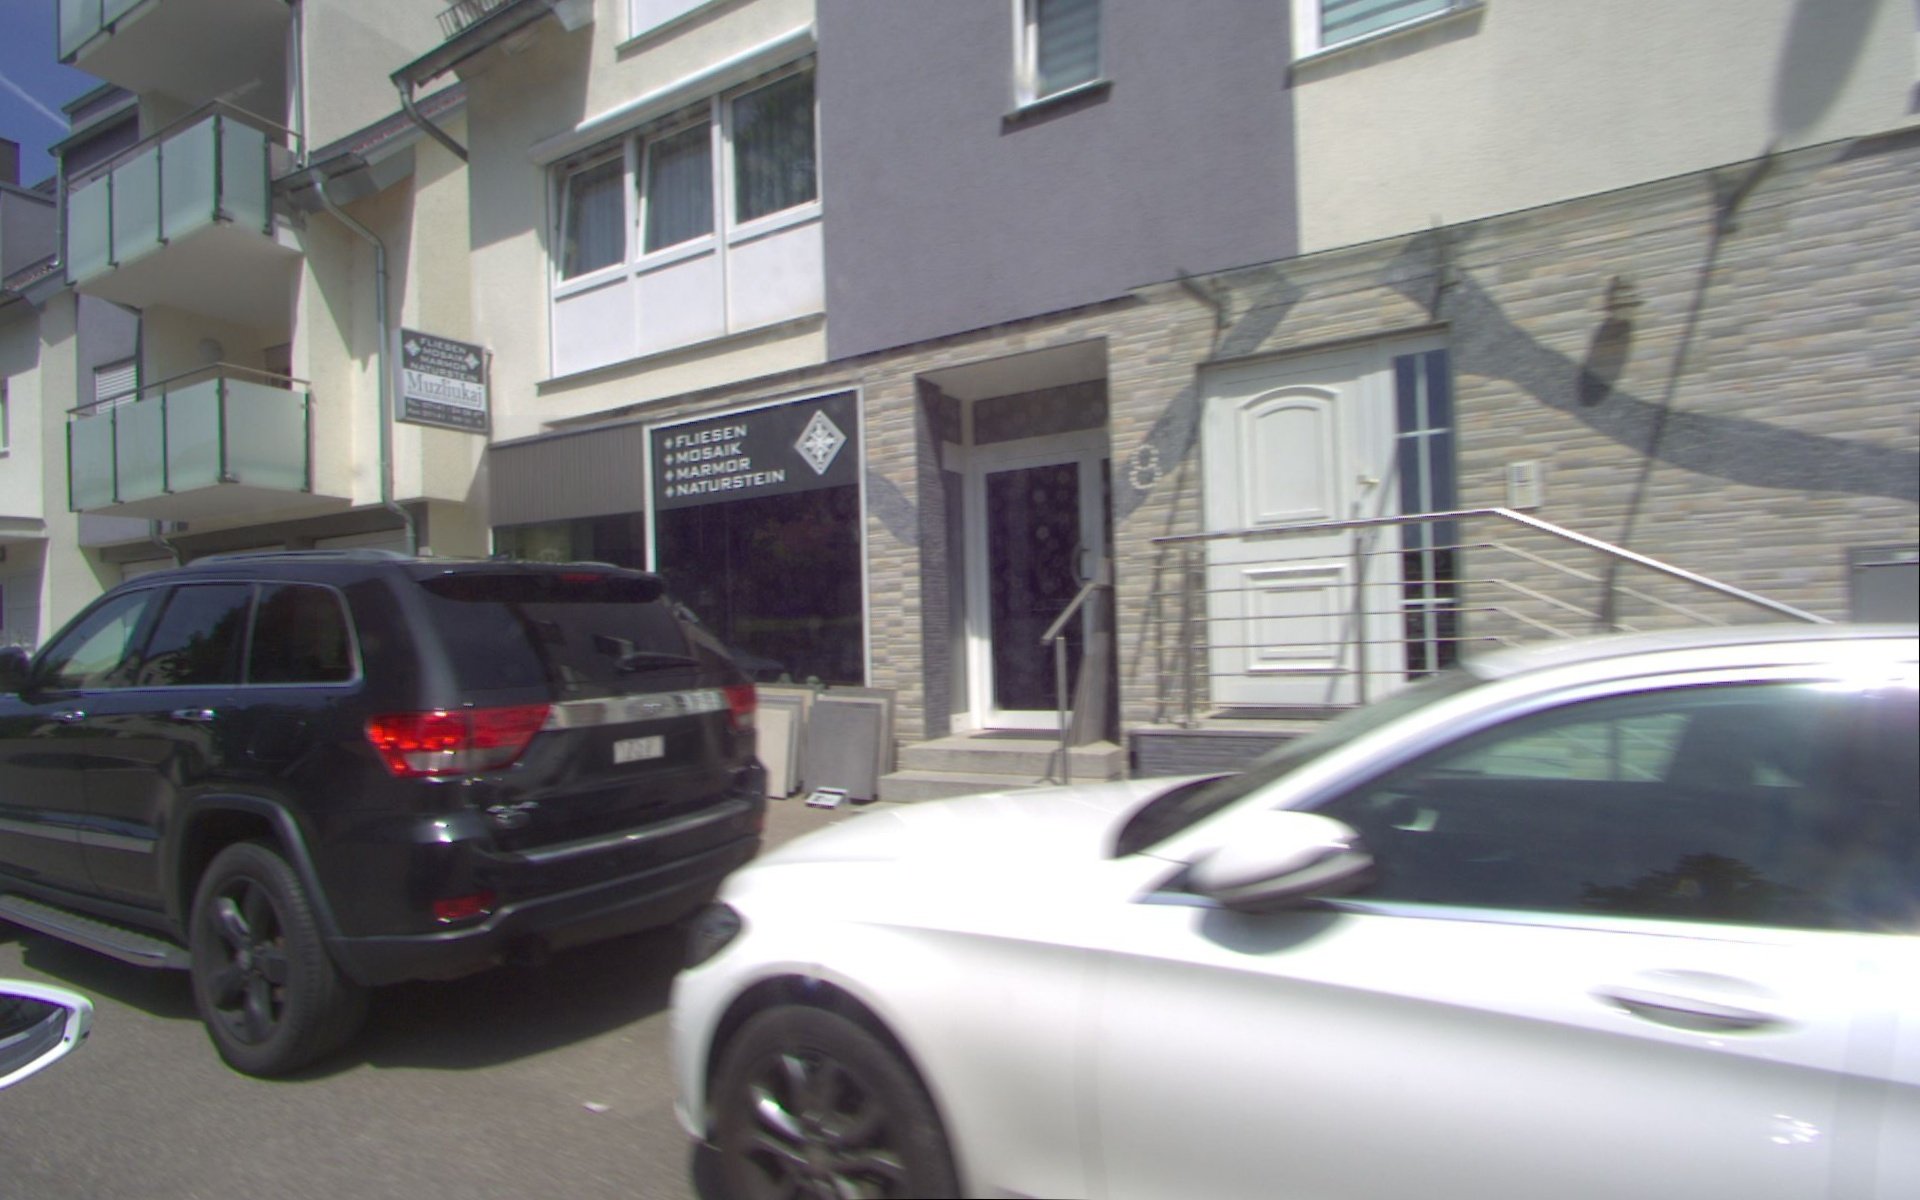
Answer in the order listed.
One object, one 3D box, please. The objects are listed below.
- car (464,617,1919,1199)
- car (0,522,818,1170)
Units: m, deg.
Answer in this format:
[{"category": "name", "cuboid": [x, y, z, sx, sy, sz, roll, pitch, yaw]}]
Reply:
[{"category": "car", "cuboid": [1.159, 0.781, 2.259, 4.645, 1.474, 1.787, -1, -1, 29]}, {"category": "car", "cuboid": [-3.116, 0.700, 4.683, 4.645, 1.738, 1.952, -1, -1, 29]}]
